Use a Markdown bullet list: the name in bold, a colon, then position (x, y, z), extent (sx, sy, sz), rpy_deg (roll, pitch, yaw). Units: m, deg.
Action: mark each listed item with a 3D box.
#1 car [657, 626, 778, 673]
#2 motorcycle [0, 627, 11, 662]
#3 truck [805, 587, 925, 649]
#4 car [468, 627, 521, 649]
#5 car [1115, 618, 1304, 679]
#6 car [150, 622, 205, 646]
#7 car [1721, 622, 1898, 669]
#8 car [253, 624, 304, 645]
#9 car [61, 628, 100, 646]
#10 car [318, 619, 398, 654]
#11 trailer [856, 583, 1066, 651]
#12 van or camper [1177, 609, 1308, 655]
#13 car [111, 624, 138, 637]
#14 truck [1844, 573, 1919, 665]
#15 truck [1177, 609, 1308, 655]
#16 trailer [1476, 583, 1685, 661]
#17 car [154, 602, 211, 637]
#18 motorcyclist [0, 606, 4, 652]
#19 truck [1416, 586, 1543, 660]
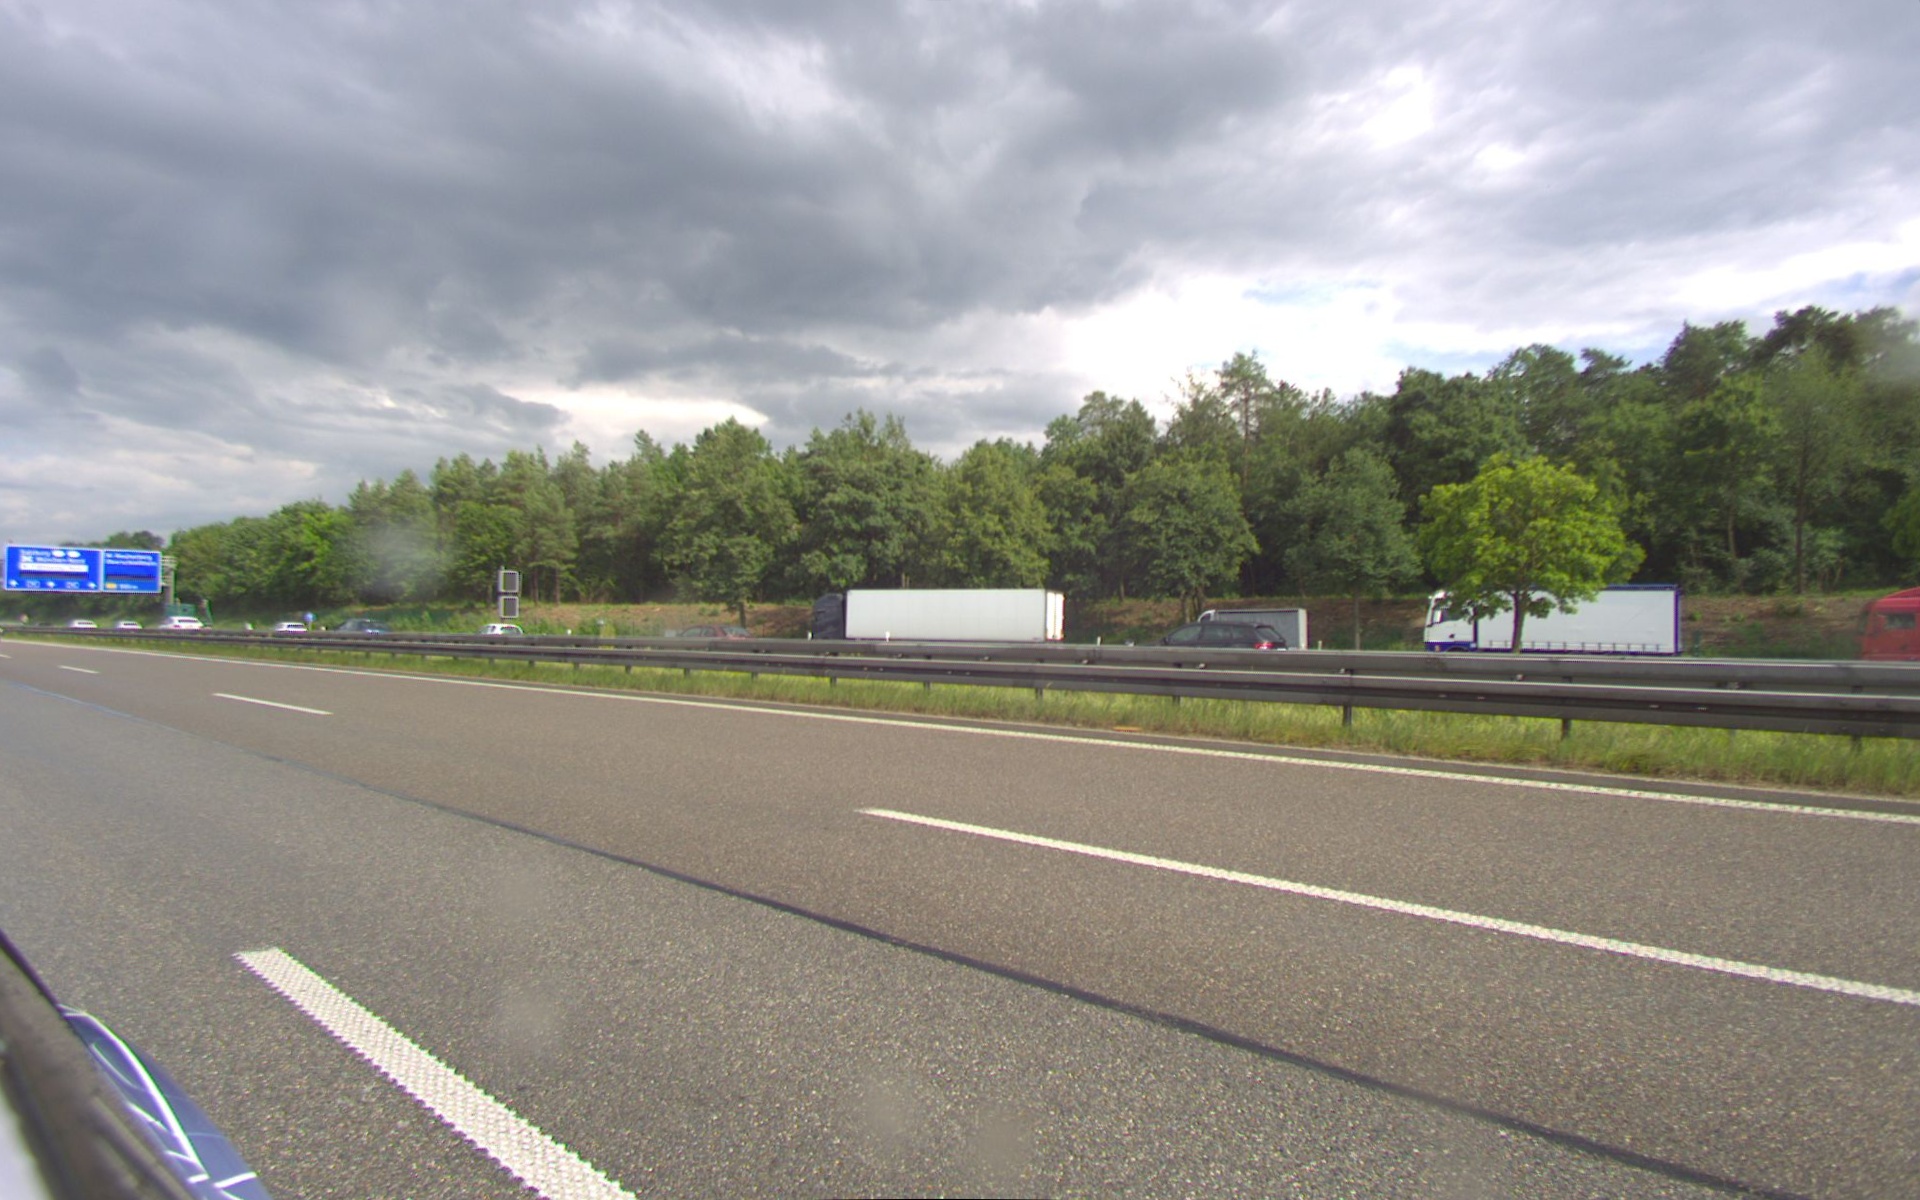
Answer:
- **car**: position (-8.332, 1.655, 34.627), extent (4.432, 1.403, 1.811), rpy_deg (-1, 0, 41)
- **motorcycle**: position (-36.932, 1.677, 38.193), extent (3.190, 1.235, 1.173), rpy_deg (-1, 0, 38)
- **truck**: position (-5.941, 1.096, 63.346), extent (6.882, 3.732, 3.188), rpy_deg (-1, 0, 27)
- **car**: position (-24.864, 2.018, 54.016), extent (3.113, 1.065, 1.430), rpy_deg (-1, 0, 41)
- **car**: position (6.383, 1.190, 26.179), extent (4.432, 1.403, 1.811), rpy_deg (-1, 0, 41)
- **car**: position (-51.599, 2.210, 66.695), extent (5.418, 1.403, 1.879), rpy_deg (-1, 0, 41)
- **car**: position (39.741, 2.075, 47.620), extent (6.115, 2.029, 1.978), rpy_deg (-1, 0, 33)
- **car**: position (-50.802, 2.534, 75.393), extent (5.156, 1.403, 1.953), rpy_deg (-1, 0, 41)
- **car**: position (-77.941, 3.240, 89.685), extent (5.418, 1.403, 1.879), rpy_deg (-1, 0, 41)
- **car**: position (-26.775, 1.580, 44.959), extent (4.432, 1.403, 1.811), rpy_deg (-1, 0, 41)
- **trailer**: position (-0.121, 1.041, 60.327), extent (12.509, 3.767, 3.184), rpy_deg (-1, -2, 28)
- **van or camper**: position (14.722, 1.641, 52.809), extent (6.295, 2.282, 2.105), rpy_deg (-1, 0, 29)
- **car**: position (-77.433, 2.836, 93.812), extent (3.113, 1.065, 1.430), rpy_deg (-1, 0, 41)
- **truck**: position (37.802, 0.691, 38.523), extent (5.882, 3.482, 2.837), rpy_deg (-1, 0, 34)
- **truck**: position (14.741, 1.641, 52.855), extent (6.290, 2.282, 2.105), rpy_deg (-1, 0, 29)
- **trailer**: position (27.413, 0.969, 45.100), extent (7.715, 3.257, 2.560), rpy_deg (-1, -1, 32)
- **car**: position (-72.804, 1.800, 94.701), extent (7.340, 3.133, 2.913), rpy_deg (-1, 0, 41)
- **motorcyclist**: position (-36.819, 1.104, 38.250), extent (1.000, 1.719, 0.872), rpy_deg (-1, 0, 39)
- **truck**: position (24.143, 1.021, 47.030), extent (5.068, 3.292, 2.635), rpy_deg (-1, 0, 31)
